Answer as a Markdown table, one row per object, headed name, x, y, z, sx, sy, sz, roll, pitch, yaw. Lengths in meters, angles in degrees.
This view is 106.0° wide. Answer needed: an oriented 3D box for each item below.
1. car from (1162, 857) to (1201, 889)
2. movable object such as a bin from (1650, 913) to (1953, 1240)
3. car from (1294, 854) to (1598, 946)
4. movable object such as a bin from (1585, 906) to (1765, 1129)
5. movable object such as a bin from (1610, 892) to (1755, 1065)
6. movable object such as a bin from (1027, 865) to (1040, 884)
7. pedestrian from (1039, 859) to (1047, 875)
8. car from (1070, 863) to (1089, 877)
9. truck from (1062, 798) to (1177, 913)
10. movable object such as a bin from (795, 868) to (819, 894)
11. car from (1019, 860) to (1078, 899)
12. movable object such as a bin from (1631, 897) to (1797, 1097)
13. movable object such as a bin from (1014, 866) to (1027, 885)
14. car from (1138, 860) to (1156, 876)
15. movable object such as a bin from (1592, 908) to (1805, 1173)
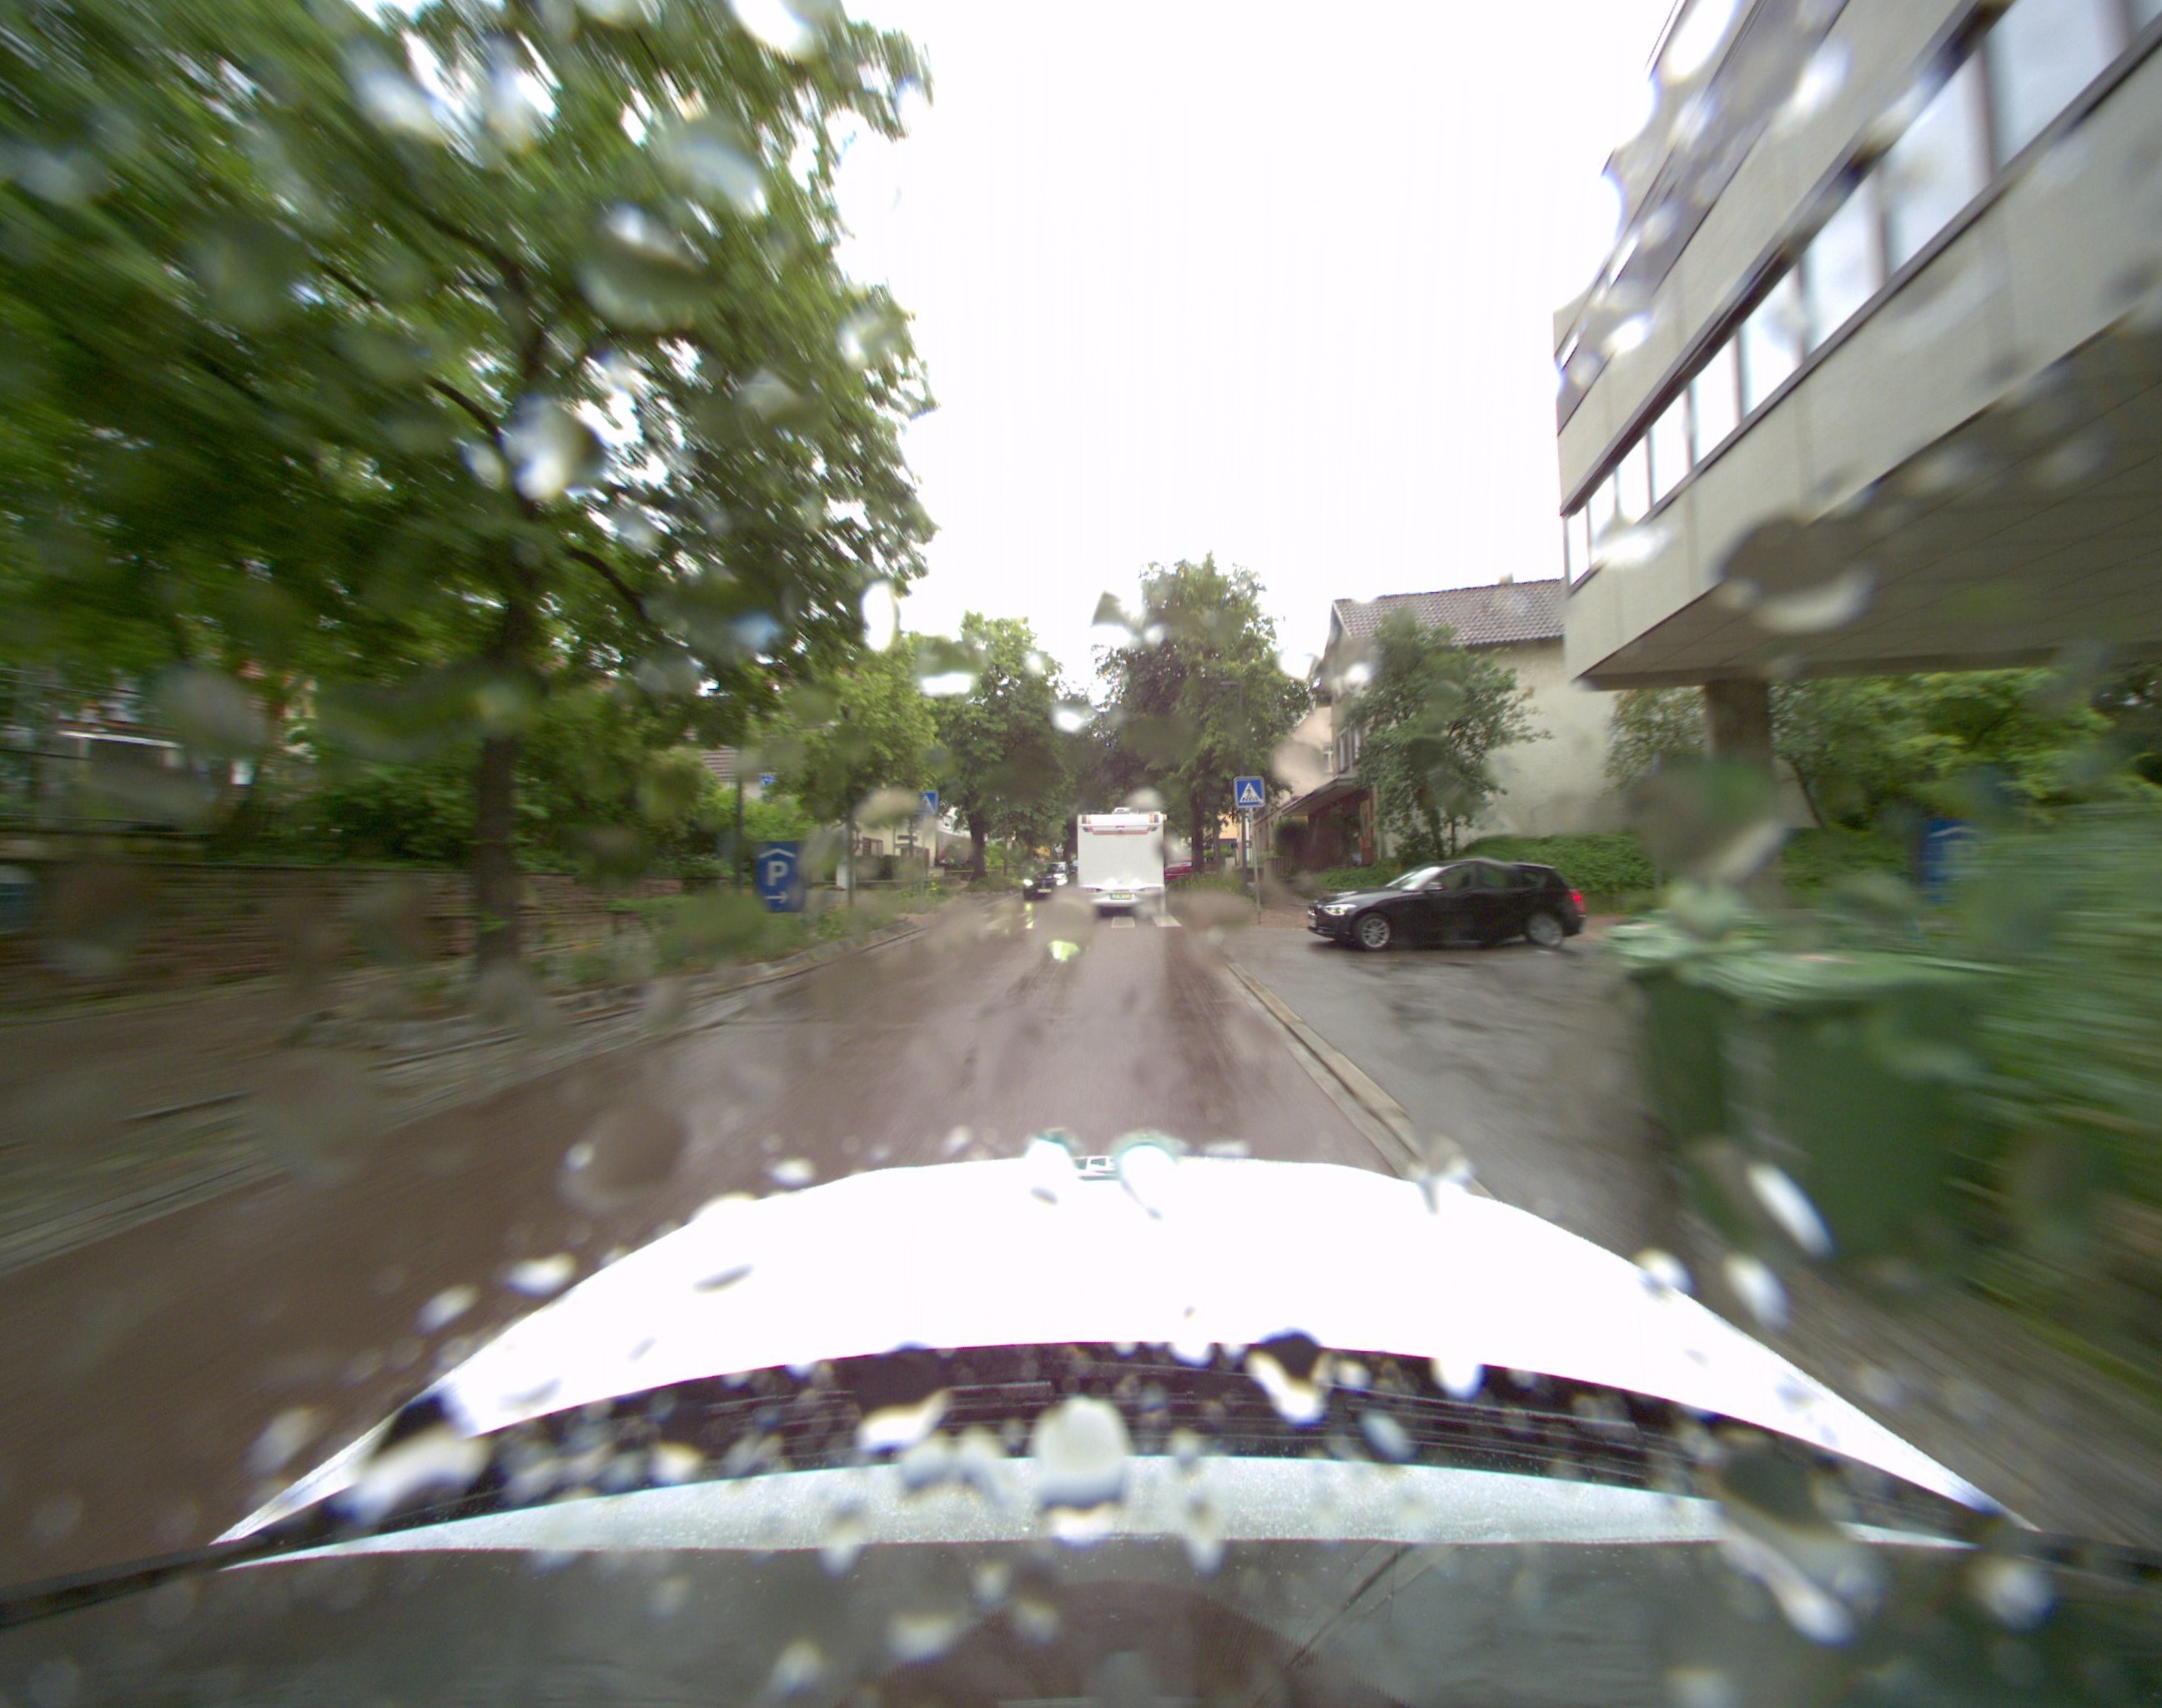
| name | x | y | z | sx | sy | sz | roll | pitch | yaw |
| --- | --- | --- | --- | --- | --- | --- | --- | --- | --- |
| car | 4.982 | 0.904 | 40.841 | 1.846 | 1.472 | 4.372 | 0 | 0 | 6 |
| movable object such as a bin | 2.818 | 0.819 | 3.270 | 0.698 | 1.124 | 0.574 | -2 | -2 | 18 |
| car | 5.883 | 0.709 | 13.532 | 4.267 | 1.417 | 1.841 | 0 | 0 | 1 |
| movable object such as a bin | 3.296 | 0.865 | 4.584 | 0.697 | 1.111 | 0.575 | -3 | -2 | 28 |
| movable object such as a bin | 4.240 | 0.830 | 5.748 | 0.575 | 1.103 | 0.697 | 0 | -3 | -44 |
| movable object such as a bin | -2.771 | 1.226 | 48.010 | 0.667 | 1.105 | 0.818 | -1 | -2 | 2 |
| pedestrian | -4.278 | 1.480 | 91.579 | 0.813 | 1.844 | 0.770 | -2 | -2 | 2 |
| car | -0.174 | 1.823 | 93.533 | 1.795 | 1.552 | 3.992 | -2 | -2 | -5 |
| truck | 1.115 | 0.112 | 23.492 | 2.794 | 2.797 | 6.110 | -2 | -2 | 3 |
| movable object such as a bin | -11.112 | 1.082 | 33.045 | 0.568 | 1.035 | 0.742 | -1 | -2 | 15 |
| car | -1.215 | 0.965 | 32.161 | 1.847 | 1.385 | 4.413 | 1 | 0 | 4 |
| movable object such as a bin | 3.932 | 0.834 | 5.064 | 0.575 | 1.103 | 0.697 | 0 | -3 | -44 |
| movable object such as a bin | -3.595 | 1.282 | 48.500 | 0.667 | 1.105 | 0.818 | -1 | -2 | 2 |
| car | 6.528 | 1.425 | 80.852 | 1.642 | 1.542 | 3.533 | -2 | -2 | 3 |
| movable object such as a bin | 2.917 | 0.830 | 3.922 | 0.697 | 1.107 | 0.575 | -3 | -2 | 29 |
